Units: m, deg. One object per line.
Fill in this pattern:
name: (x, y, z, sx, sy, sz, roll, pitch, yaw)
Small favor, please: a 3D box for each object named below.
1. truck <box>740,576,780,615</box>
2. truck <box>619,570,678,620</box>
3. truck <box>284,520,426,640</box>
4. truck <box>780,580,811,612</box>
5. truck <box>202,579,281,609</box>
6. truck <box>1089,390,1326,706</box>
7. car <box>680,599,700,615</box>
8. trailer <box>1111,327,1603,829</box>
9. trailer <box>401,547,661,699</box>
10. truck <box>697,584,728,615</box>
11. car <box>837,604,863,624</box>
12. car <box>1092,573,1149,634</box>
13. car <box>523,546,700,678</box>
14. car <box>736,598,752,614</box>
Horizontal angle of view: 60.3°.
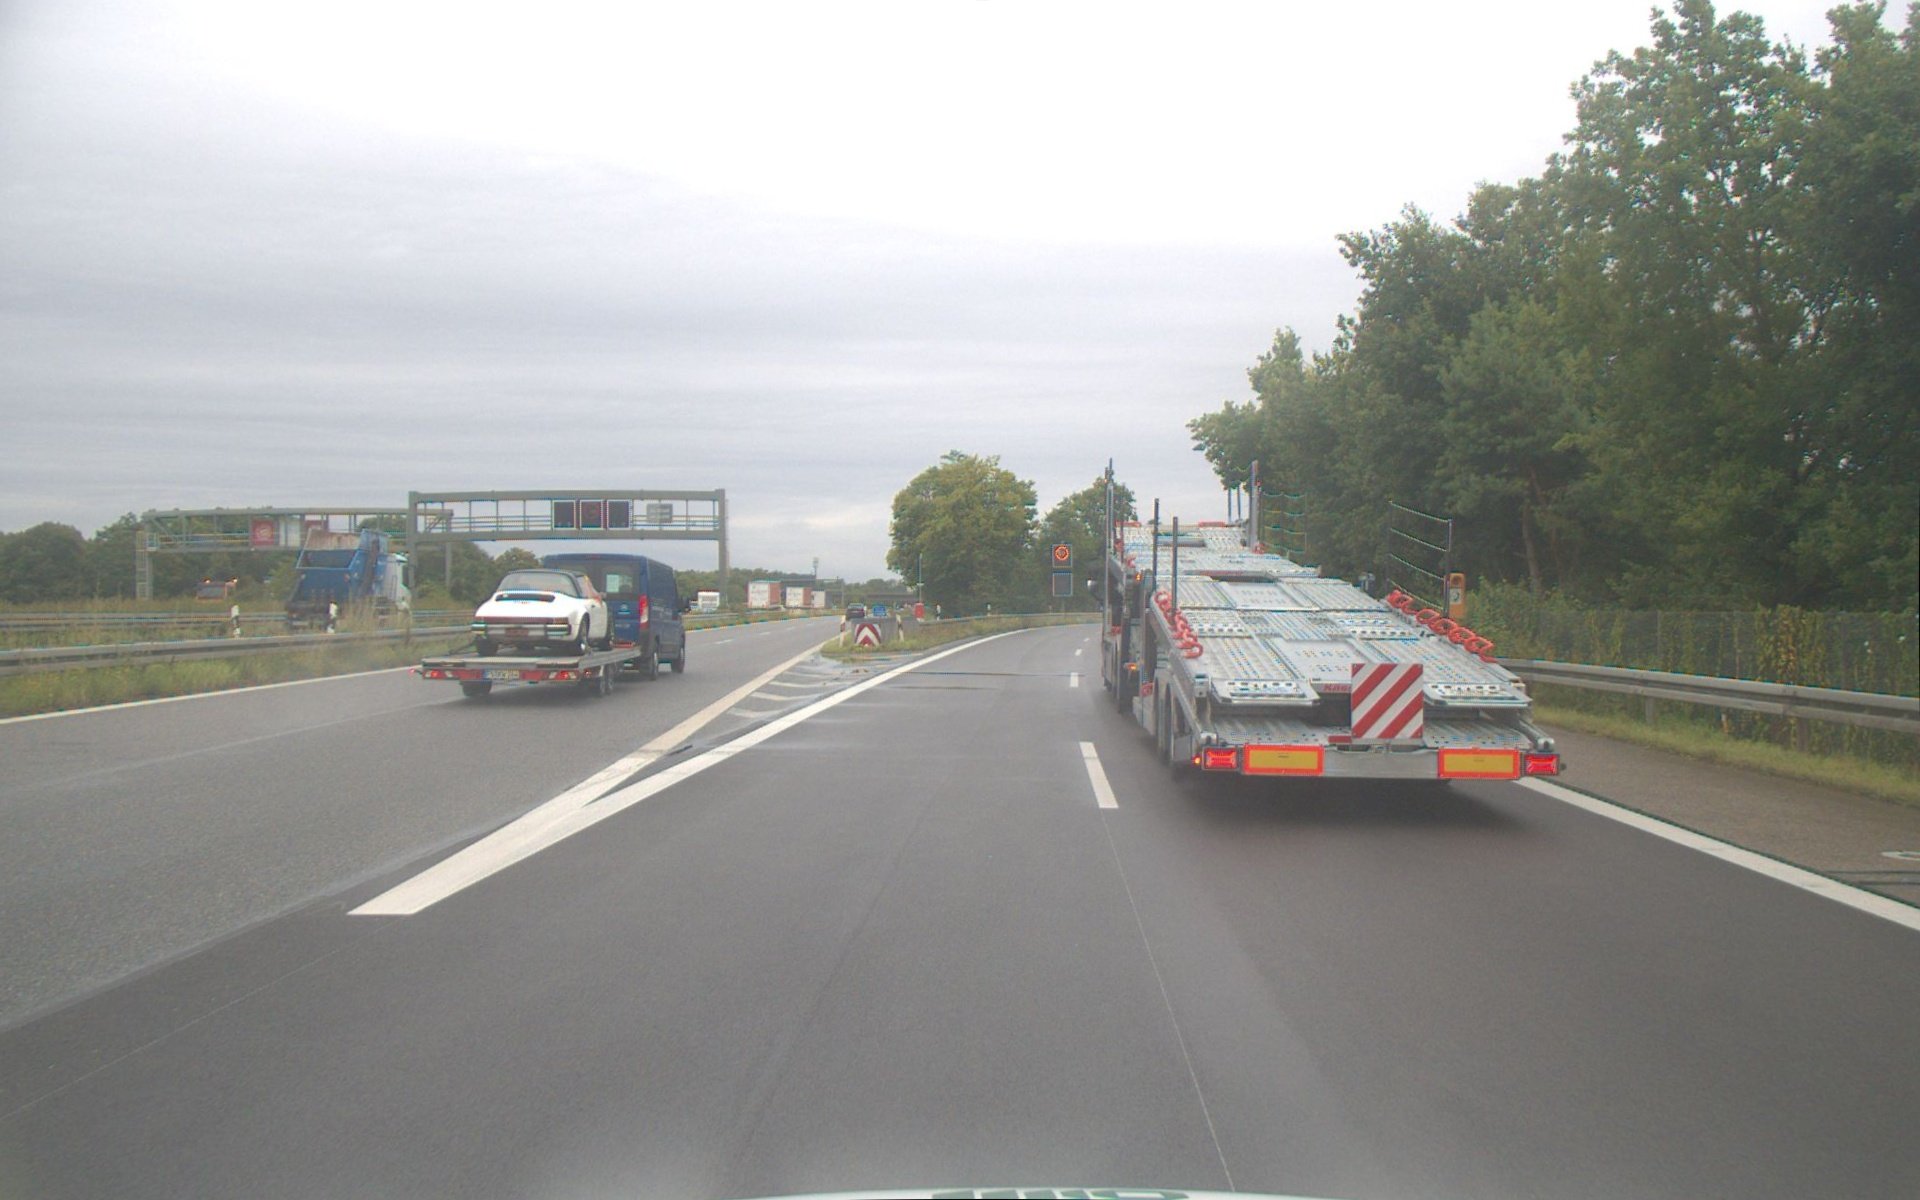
truck: (-23.720, -0.562, 196.828, 3.658, 4.494, 10.191, 1, 0, -2)
truck: (-22.444, -0.343, 119.650, 2.799, 3.424, 8.628, 1, 0, -2)
truck: (-20.883, -0.624, 57.565, 2.586, 3.879, 7.338, 1, -1, -4)
truck: (-24.380, -0.607, 245.027, 3.658, 4.494, 11.892, 1, 0, -2)
truck: (-53.178, -0.420, 122.639, 1.952, 2.049, 8.813, 1, -1, 0)
truck: (3.590, -0.695, 26.158, 2.682, 4.037, 9.132, 2, 0, 3)
car: (-27.959, 0.726, 171.280, 1.649, 1.557, 3.997, 1, 0, -4)
trailer: (3.145, -0.165, 16.358, 2.720, 3.342, 10.410, 1, 0, 2)
trailer: (-6.458, 0.317, 25.983, 2.435, 2.029, 7.060, 1, 0, -2)
truck: (-22.837, -0.072, 152.814, 2.198, 2.751, 5.277, 1, 0, -2)
car: (-9.402, 1.209, 141.748, 1.922, 1.666, 5.623, 1, -1, -2)
car: (6.413, 0.134, 65.562, 2.065, 2.304, 5.901, 0, 0, 7)
car: (-6.700, 0.217, 32.609, 2.325, 2.306, 6.254, 1, 0, -2)
car: (-28.641, 0.827, 219.641, 1.695, 2.049, 3.998, 1, -1, -2)
